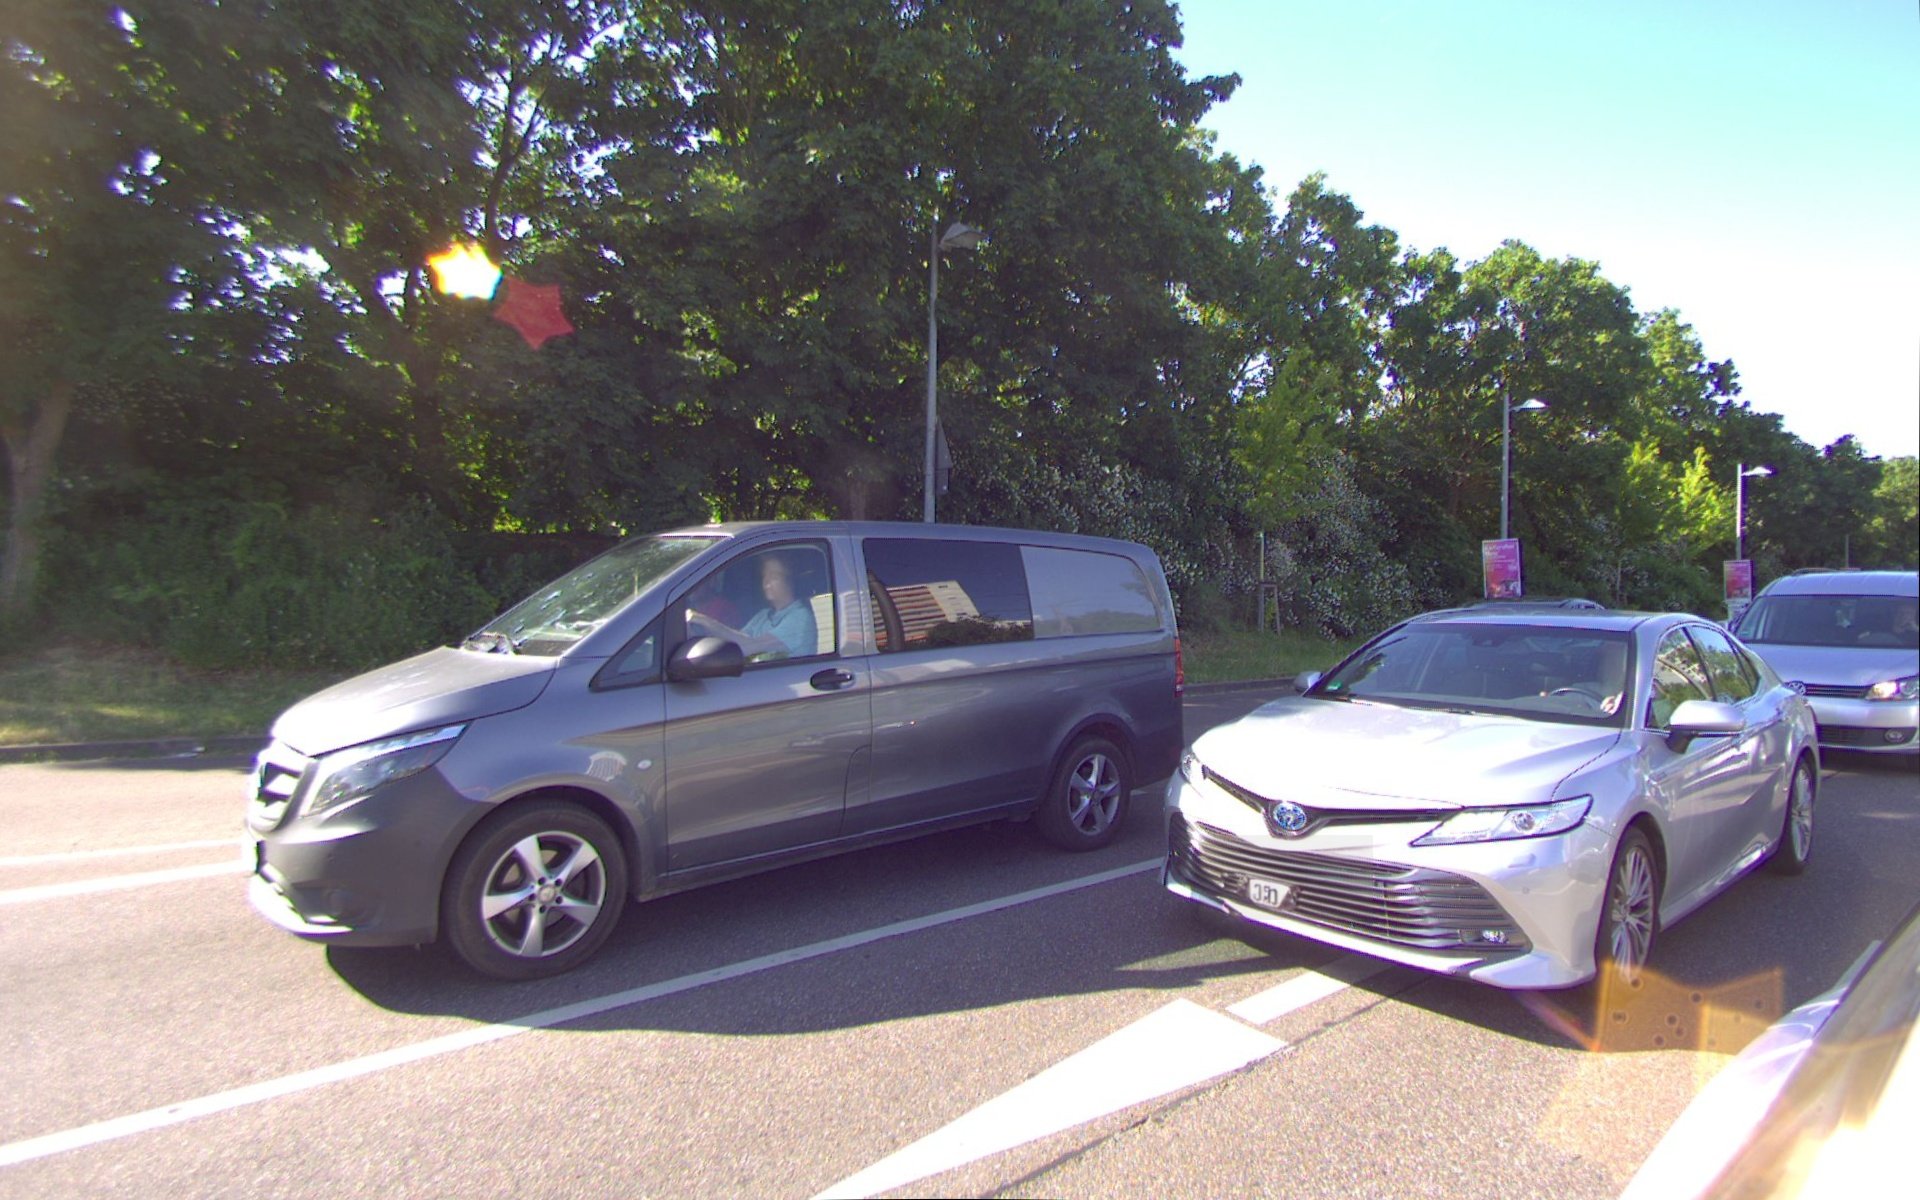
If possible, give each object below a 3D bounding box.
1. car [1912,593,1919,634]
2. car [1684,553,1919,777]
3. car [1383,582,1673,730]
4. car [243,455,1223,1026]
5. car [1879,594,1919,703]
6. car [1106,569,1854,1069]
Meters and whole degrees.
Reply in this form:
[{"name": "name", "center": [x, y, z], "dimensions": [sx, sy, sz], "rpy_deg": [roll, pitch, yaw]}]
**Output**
[{"name": "car", "center": [37.327, 0.503, 38.140], "dimensions": [3.894, 1.512, 1.713], "rpy_deg": [0, 1, -40]}, {"name": "car", "center": [9.213, 0.503, 10.334], "dimensions": [4.504, 1.844, 1.809], "rpy_deg": [-1, 1, -39]}, {"name": "car", "center": [7.099, 0.551, 12.486], "dimensions": [4.151, 1.527, 1.771], "rpy_deg": [-1, 0, -40]}, {"name": "car", "center": [-0.842, 0.431, 5.602], "dimensions": [5.011, 1.875, 1.809], "rpy_deg": [0, 2, -39]}, {"name": "car", "center": [14.840, 0.674, 14.787], "dimensions": [4.126, 1.472, 1.715], "rpy_deg": [0, 1, -43]}, {"name": "car", "center": [2.980, 0.660, 5.247], "dimensions": [4.599, 1.512, 1.808], "rpy_deg": [0, 0, -40]}]
